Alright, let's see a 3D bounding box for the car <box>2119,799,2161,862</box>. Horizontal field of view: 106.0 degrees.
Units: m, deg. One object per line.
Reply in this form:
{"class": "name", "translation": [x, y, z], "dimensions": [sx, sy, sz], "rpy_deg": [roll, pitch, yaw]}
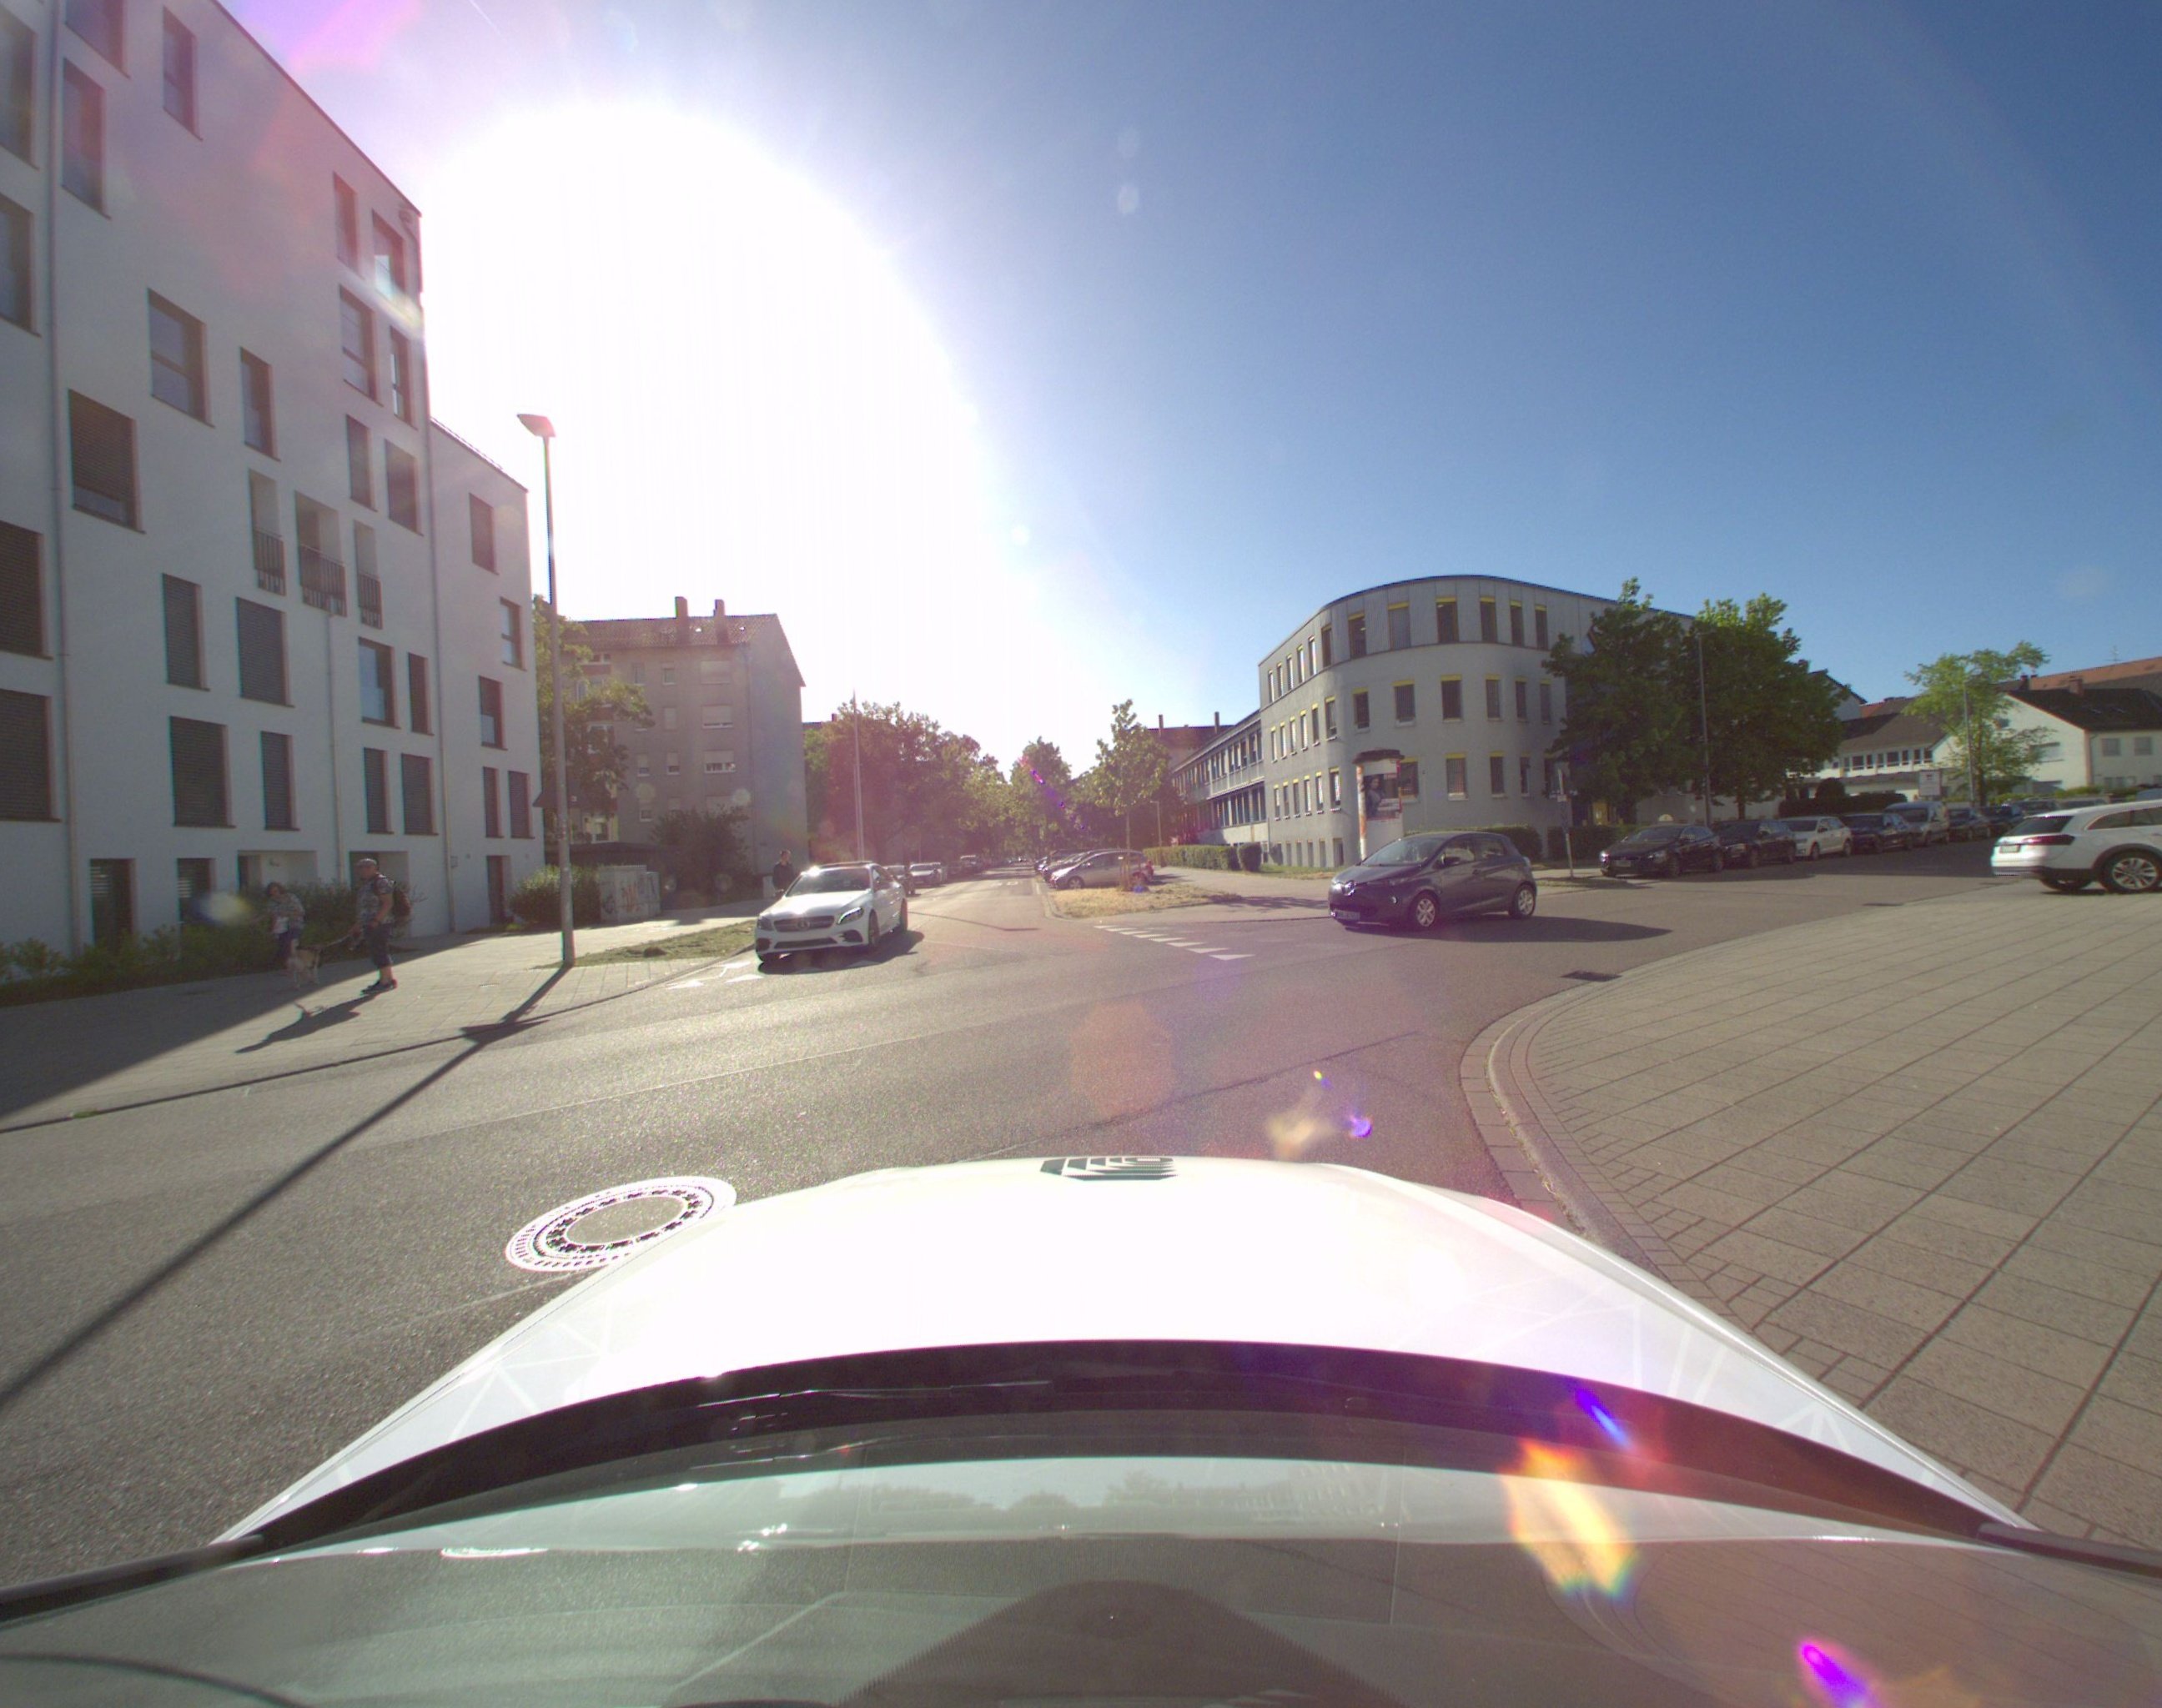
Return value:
{"class": "car", "translation": [27.923, -0.721, 19.121], "dimensions": [3.946, 1.489, 1.626], "rpy_deg": [-5, -4, 29]}

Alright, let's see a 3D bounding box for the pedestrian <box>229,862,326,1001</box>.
{"class": "pedestrian", "translation": [-13.086, 1.218, 13.266], "dimensions": [0.765, 2.120, 0.965], "rpy_deg": [-2, 1, 40]}

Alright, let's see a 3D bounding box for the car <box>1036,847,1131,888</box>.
{"class": "car", "translation": [0.066, 0.610, 37.962], "dimensions": [4.273, 1.765, 1.996], "rpy_deg": [-1, -1, -6]}

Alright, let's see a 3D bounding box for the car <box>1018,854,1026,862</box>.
{"class": "car", "translation": [-14.731, 0.948, 202.746], "dimensions": [1.990, 1.747, 3.994], "rpy_deg": [-3, 0, -4]}

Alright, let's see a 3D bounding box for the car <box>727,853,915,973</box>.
{"class": "car", "translation": [-4.268, 0.860, 14.249], "dimensions": [1.881, 1.504, 4.634], "rpy_deg": [-5, 1, -3]}

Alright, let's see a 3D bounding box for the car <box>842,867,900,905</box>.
{"class": "car", "translation": [-8.609, 1.261, 33.648], "dimensions": [1.664, 1.420, 3.992], "rpy_deg": [-1, -1, -5]}

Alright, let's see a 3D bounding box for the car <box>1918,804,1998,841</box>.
{"class": "car", "translation": [38.041, -1.364, 35.299], "dimensions": [4.014, 1.440, 1.587], "rpy_deg": [-3, 1, -32]}

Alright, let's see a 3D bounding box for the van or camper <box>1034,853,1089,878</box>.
{"class": "van or camper", "translation": [-1.493, 0.886, 61.266], "dimensions": [3.979, 1.772, 1.997], "rpy_deg": [-1, -1, -4]}

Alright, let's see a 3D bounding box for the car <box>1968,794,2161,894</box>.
{"class": "car", "translation": [18.703, -0.294, 13.579], "dimensions": [4.812, 1.464, 1.985], "rpy_deg": [-6, -1, 26]}

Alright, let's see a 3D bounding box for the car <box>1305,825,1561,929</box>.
{"class": "car", "translation": [6.011, 0.326, 13.845], "dimensions": [4.149, 1.504, 1.825], "rpy_deg": [-2, 0, -29]}

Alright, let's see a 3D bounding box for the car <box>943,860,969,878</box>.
{"class": "car", "translation": [-10.746, 1.285, 70.400], "dimensions": [1.991, 1.408, 3.900], "rpy_deg": [-1, -1, -6]}

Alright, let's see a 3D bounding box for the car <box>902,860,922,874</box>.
{"class": "car", "translation": [-15.442, 1.182, 74.482], "dimensions": [1.270, 1.225, 2.661], "rpy_deg": [-3, 0, -1]}

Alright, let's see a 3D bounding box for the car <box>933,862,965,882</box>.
{"class": "car", "translation": [-9.970, 1.333, 61.794], "dimensions": [1.838, 1.398, 3.996], "rpy_deg": [-3, -1, -3]}

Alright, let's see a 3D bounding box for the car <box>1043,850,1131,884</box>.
{"class": "car", "translation": [0.265, 0.637, 40.800], "dimensions": [4.198, 1.596, 1.996], "rpy_deg": [-1, -1, -6]}

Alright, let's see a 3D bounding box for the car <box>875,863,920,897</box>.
{"class": "car", "translation": [-8.616, 1.191, 38.508], "dimensions": [1.403, 1.376, 3.995], "rpy_deg": [-3, 0, -4]}

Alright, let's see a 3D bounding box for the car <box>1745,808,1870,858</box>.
{"class": "car", "translation": [25.024, -0.737, 28.035], "dimensions": [4.640, 1.530, 1.895], "rpy_deg": [-2, 0, -31]}

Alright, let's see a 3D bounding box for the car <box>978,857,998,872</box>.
{"class": "car", "translation": [-12.725, 1.404, 111.724], "dimensions": [1.984, 2.014, 4.005], "rpy_deg": [-1, -1, 4]}

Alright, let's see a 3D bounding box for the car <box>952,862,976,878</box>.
{"class": "car", "translation": [-11.226, 1.548, 78.228], "dimensions": [1.838, 1.398, 3.996], "rpy_deg": [-3, -1, -3]}

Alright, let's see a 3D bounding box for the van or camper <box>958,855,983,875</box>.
{"class": "van or camper", "translation": [-11.422, 1.181, 84.355], "dimensions": [1.987, 2.014, 3.998], "rpy_deg": [-1, -1, -1]}

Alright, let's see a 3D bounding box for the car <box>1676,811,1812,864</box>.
{"class": "car", "translation": [20.805, -0.536, 25.518], "dimensions": [4.395, 1.479, 1.895], "rpy_deg": [-2, 0, -31]}

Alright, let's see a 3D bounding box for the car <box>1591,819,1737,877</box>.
{"class": "car", "translation": [16.465, -0.195, 22.962], "dimensions": [4.237, 1.410, 1.777], "rpy_deg": [-3, 1, -31]}

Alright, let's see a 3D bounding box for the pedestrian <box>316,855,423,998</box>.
{"class": "pedestrian", "translation": [-9.851, 0.965, 11.313], "dimensions": [0.845, 1.885, 0.787], "rpy_deg": [-1, -1, -14]}

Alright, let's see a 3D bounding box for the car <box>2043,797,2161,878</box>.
{"class": "car", "translation": [21.801, -0.363, 15.473], "dimensions": [4.119, 1.497, 1.834], "rpy_deg": [-3, -2, 27]}

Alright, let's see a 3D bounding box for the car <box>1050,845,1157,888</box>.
{"class": "car", "translation": [0.856, 0.497, 32.778], "dimensions": [4.084, 1.492, 1.724], "rpy_deg": [-2, -1, -7]}

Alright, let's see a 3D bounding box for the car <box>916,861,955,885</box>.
{"class": "car", "translation": [-9.654, 1.244, 54.478], "dimensions": [1.989, 1.398, 3.996], "rpy_deg": [-3, -1, -3]}

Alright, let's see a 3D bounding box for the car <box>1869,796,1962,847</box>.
{"class": "car", "translation": [33.833, -1.321, 33.001], "dimensions": [4.356, 1.838, 1.676], "rpy_deg": [-3, 1, -32]}

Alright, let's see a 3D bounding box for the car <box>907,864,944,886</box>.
{"class": "car", "translation": [-9.240, 1.210, 48.599], "dimensions": [1.625, 1.234, 4.187], "rpy_deg": [-1, -1, -3]}

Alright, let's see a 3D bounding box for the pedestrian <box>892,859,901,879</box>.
{"class": "pedestrian", "translation": [-16.135, 1.318, 71.139], "dimensions": [0.634, 1.664, 0.697], "rpy_deg": [-3, 0, -9]}

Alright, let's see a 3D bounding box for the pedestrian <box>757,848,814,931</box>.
{"class": "pedestrian", "translation": [-6.408, 0.751, 17.719], "dimensions": [0.870, 1.714, 0.977], "rpy_deg": [-3, 0, -7]}

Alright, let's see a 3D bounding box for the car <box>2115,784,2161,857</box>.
{"class": "car", "translation": [30.779, -1.058, 21.046], "dimensions": [4.477, 1.898, 2.060], "rpy_deg": [-4, -3, 20]}

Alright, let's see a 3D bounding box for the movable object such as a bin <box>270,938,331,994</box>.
{"class": "movable object such as a bin", "translation": [-11.163, 1.587, 11.664], "dimensions": [0.272, 0.680, 0.844], "rpy_deg": [-3, 0, -18]}

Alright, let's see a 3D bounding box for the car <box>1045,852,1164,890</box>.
{"class": "car", "translation": [0.964, 0.724, 34.824], "dimensions": [4.867, 1.274, 1.724], "rpy_deg": [-3, -1, -8]}

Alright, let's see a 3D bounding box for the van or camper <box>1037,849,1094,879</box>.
{"class": "van or camper", "translation": [-1.138, 0.726, 58.478], "dimensions": [3.979, 2.014, 1.997], "rpy_deg": [-1, -1, -4]}

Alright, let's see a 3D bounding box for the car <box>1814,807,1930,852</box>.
{"class": "car", "translation": [29.460, -0.925, 30.311], "dimensions": [4.623, 1.439, 1.722], "rpy_deg": [-3, 0, -28]}

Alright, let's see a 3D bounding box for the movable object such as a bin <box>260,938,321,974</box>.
{"class": "movable object such as a bin", "translation": [-13.546, 1.744, 13.969], "dimensions": [0.269, 0.541, 0.689], "rpy_deg": [-2, -1, 17]}
